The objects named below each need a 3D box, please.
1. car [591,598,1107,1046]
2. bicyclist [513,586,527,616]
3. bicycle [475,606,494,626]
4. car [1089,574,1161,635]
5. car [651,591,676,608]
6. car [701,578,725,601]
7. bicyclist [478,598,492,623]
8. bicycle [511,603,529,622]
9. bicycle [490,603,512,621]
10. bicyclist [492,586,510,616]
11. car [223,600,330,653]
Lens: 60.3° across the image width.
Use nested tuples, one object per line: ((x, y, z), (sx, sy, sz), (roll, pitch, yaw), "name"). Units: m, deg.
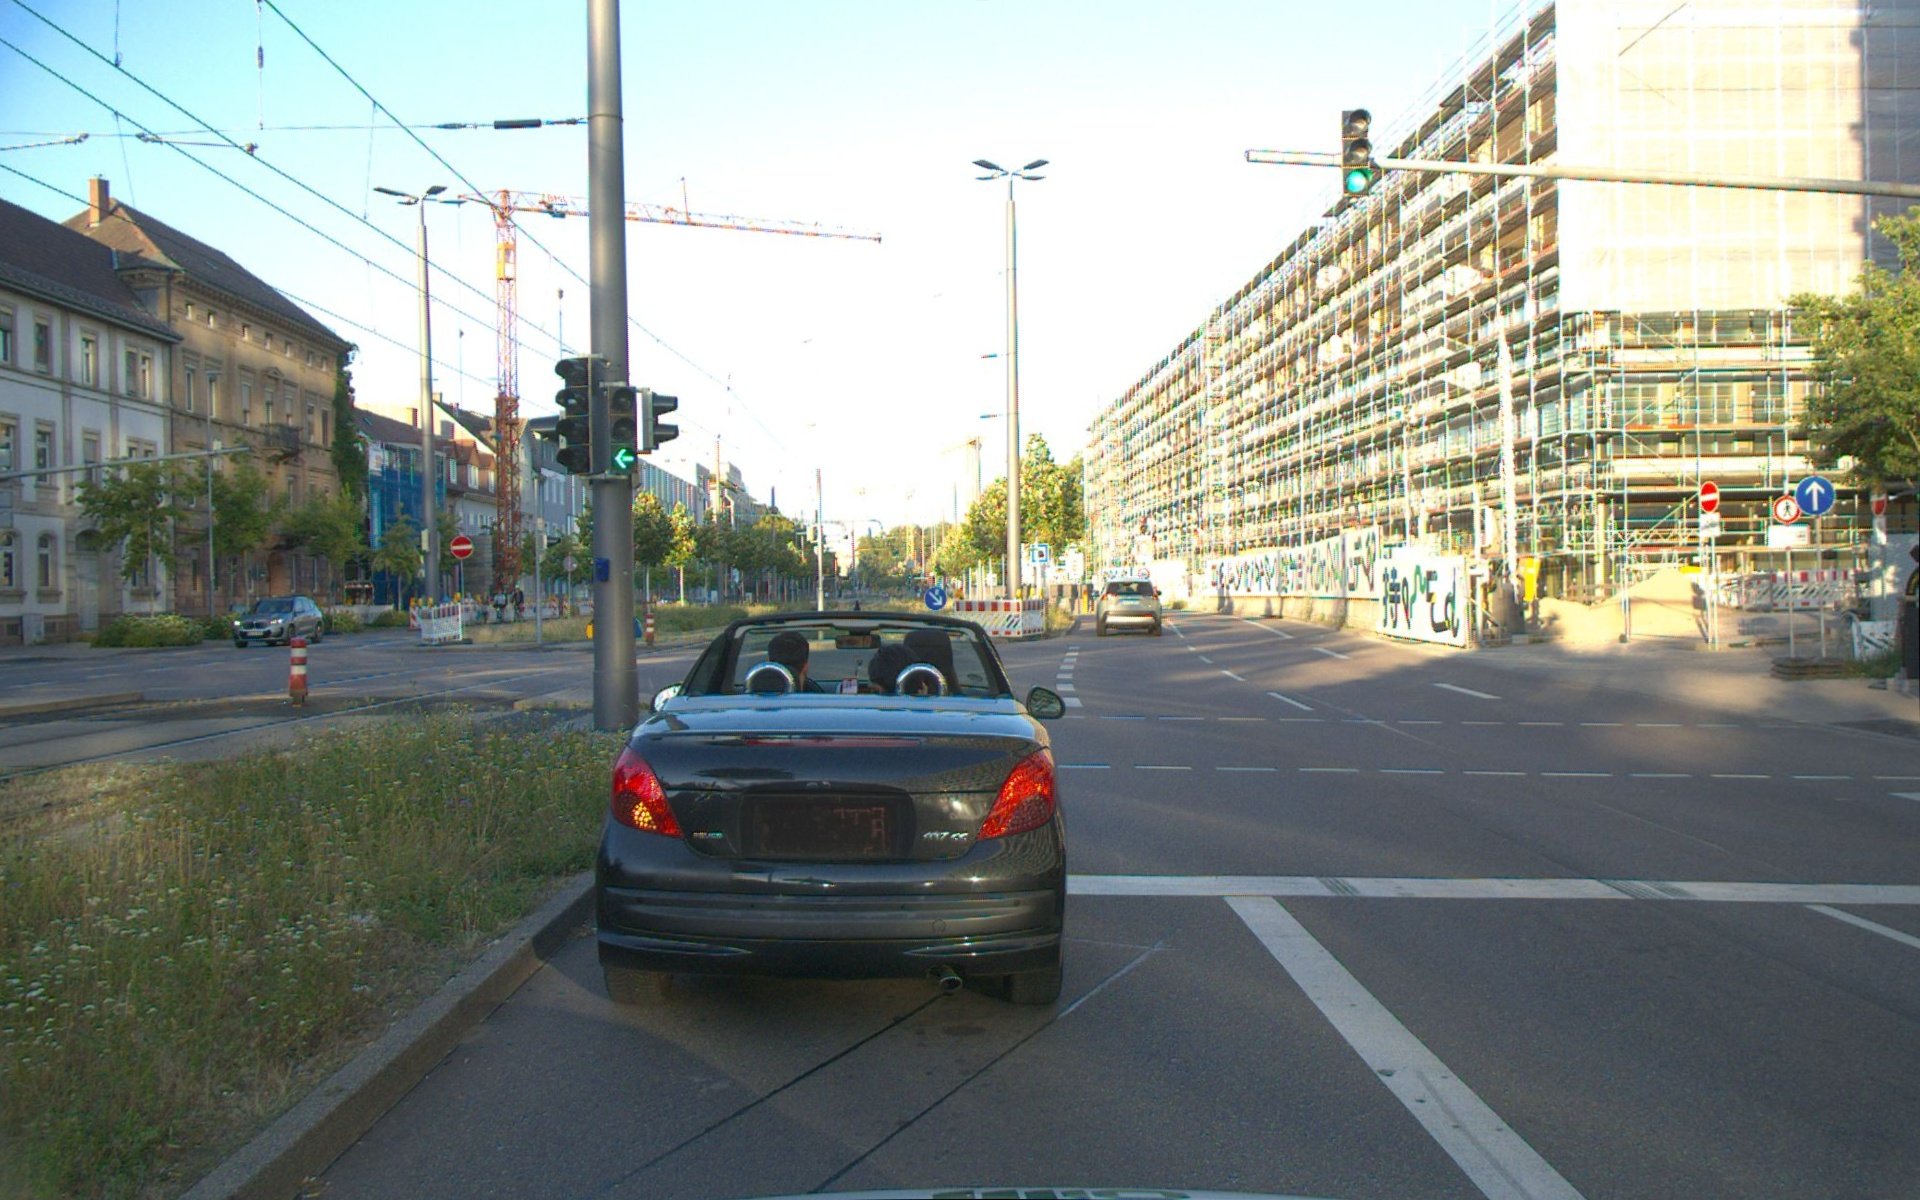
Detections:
((-0.392, 0.706, 7.271), (1.640, 1.375, 3.999), (0, 1, -1), "car")
((-23.933, 0.064, 89.959), (0.578, 1.596, 0.711), (1, 0, -1), "bicyclist")
((-24.856, 0.828, 86.462), (0.578, 1.006, 1.556), (1, 1, -1), "bicycle")
((4.779, 0.083, 48.279), (1.796, 1.701, 4.283), (0, 1, 2), "car")
((-27.197, -0.035, 151.915), (1.624, 1.456, 3.894), (1, 1, 0), "car")
((-22.709, -0.995, 152.072), (1.624, 1.998, 4.266), (1, 1, 0), "car")
((-24.850, 0.557, 86.462), (0.578, 1.288, 0.460), (1, 0, -1), "bicyclist")
((-23.944, 0.649, 89.963), (0.578, 0.992, 1.556), (1, 1, -1), "bicycle")
((-24.978, 0.648, 90.011), (0.756, 0.961, 1.639), (1, 1, -1), "bicycle")
((-24.965, 0.033, 90.008), (0.756, 1.598, 0.792), (1, 0, -1), "bicyclist")
((-23.263, 0.870, 56.453), (1.953, 1.607, 4.123), (-2, 1, -1), "car")
